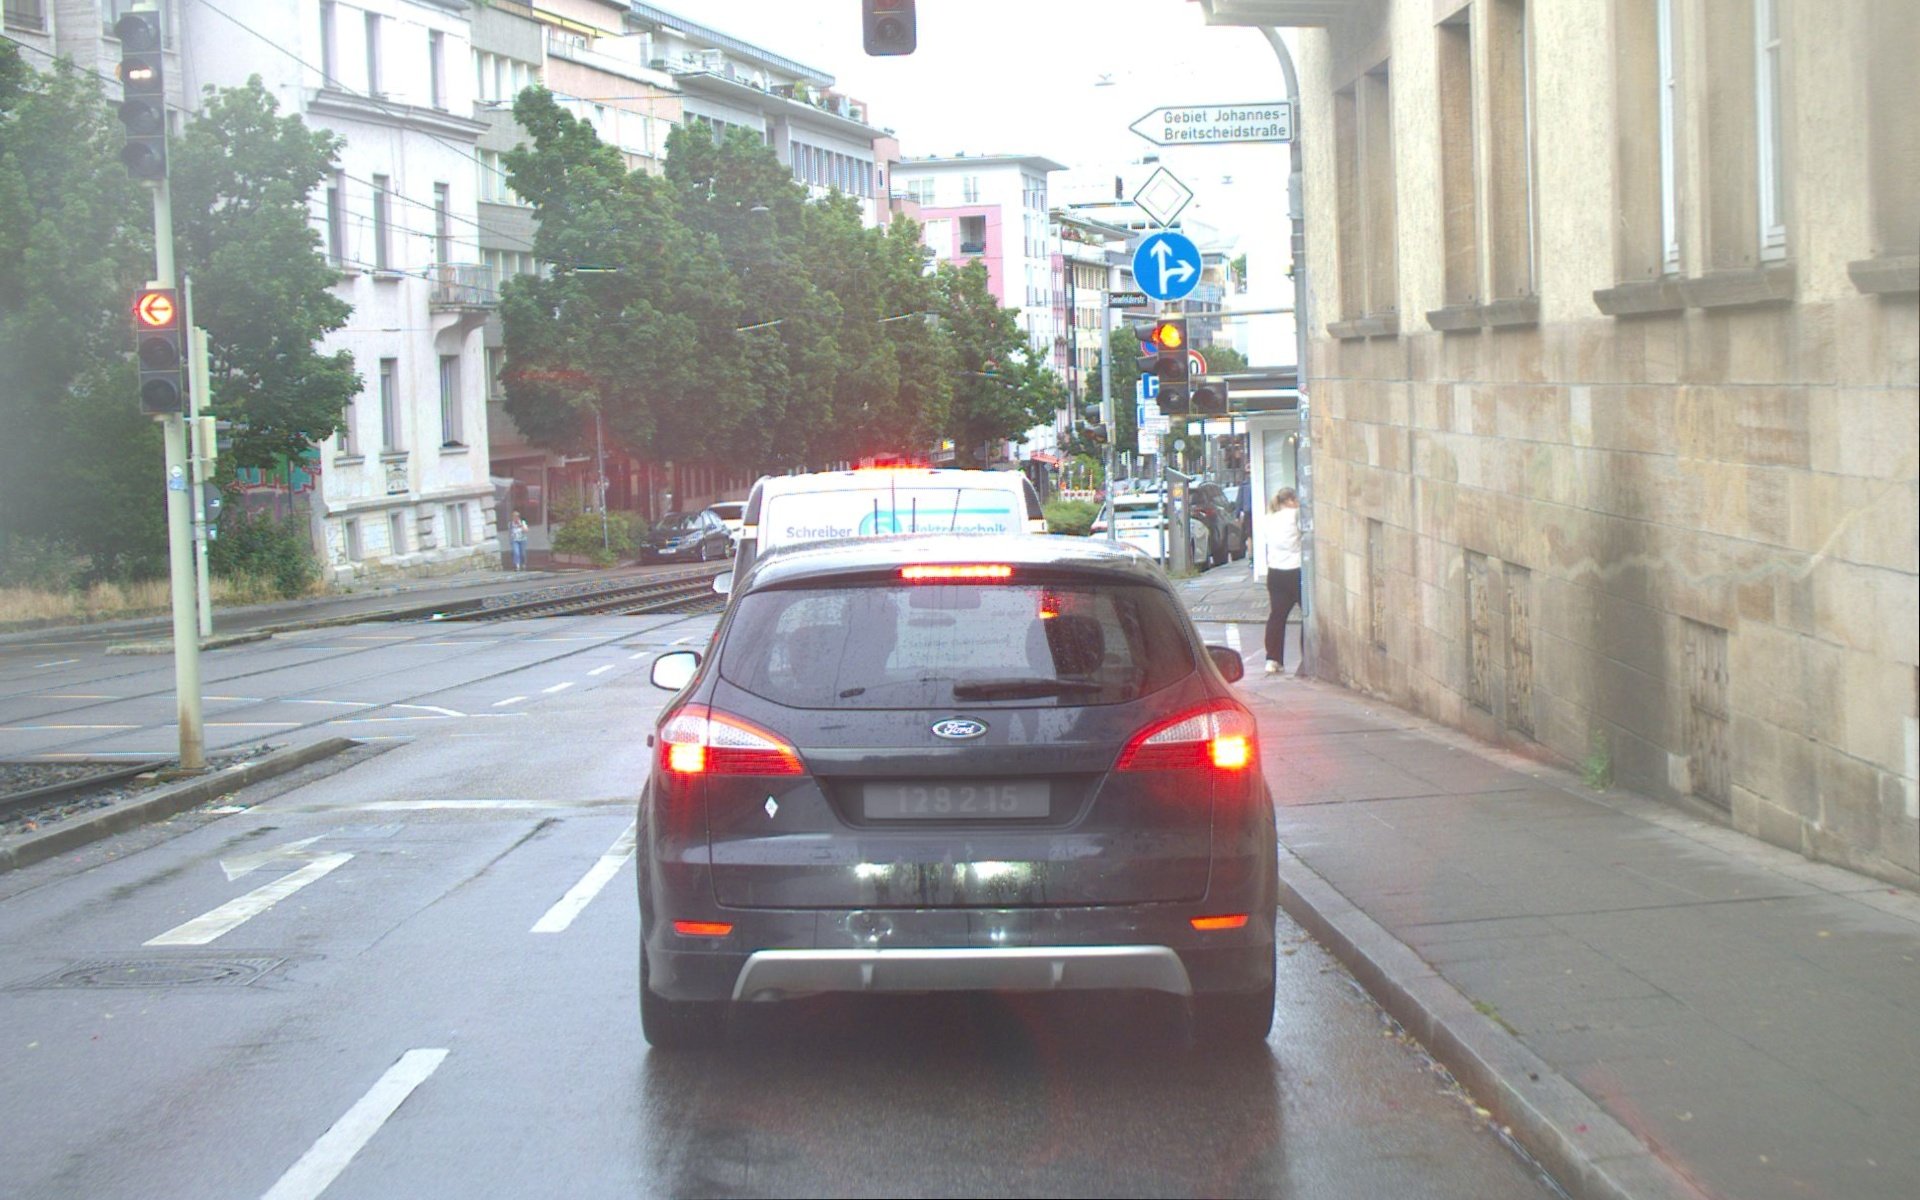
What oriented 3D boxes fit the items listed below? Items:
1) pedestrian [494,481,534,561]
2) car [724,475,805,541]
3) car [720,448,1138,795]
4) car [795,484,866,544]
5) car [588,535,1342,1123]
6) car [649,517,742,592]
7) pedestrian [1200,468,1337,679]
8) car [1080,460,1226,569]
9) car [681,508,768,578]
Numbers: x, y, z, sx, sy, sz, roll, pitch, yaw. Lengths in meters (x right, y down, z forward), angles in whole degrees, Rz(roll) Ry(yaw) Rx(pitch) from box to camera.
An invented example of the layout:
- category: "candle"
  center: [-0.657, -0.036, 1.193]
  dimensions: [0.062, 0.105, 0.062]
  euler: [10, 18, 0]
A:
- category: "pedestrian"
  center: [-11.417, -2.031, 87.999]
  dimensions: [0.941, 2.007, 0.765]
  euler: [-2, 1, -10]
- category: "car"
  center: [-6.231, -2.938, 110.037]
  dimensions: [1.994, 2.006, 4.000]
  euler: [-2, 1, 4]
- category: "car"
  center: [-0.244, 0.051, 20.297]
  dimensions: [2.137, 1.739, 4.219]
  euler: [-3, 2, -2]
- category: "car"
  center: [-4.569, -3.054, 121.429]
  dimensions: [1.994, 2.006, 4.000]
  euler: [-2, 1, 4]
- category: "car"
  center: [-0.068, 0.548, 10.821]
  dimensions: [1.920, 1.474, 4.001]
  euler: [-1, 1, -2]
- category: "car"
  center: [-7.473, -1.300, 97.445]
  dimensions: [1.994, 2.006, 4.000]
  euler: [-2, 1, 4]
- category: "pedestrian"
  center: [2.700, -0.240, 30.162]
  dimensions: [1.045, 1.789, 0.902]
  euler: [-2, 1, -2]
- category: "car"
  center: [3.390, -1.501, 59.752]
  dimensions: [1.994, 1.766, 3.999]
  euler: [-2, 2, 10]
- category: "car"
  center: [-7.093, -1.728, 103.830]
  dimensions: [1.994, 2.006, 4.000]
  euler: [-2, 1, 4]
